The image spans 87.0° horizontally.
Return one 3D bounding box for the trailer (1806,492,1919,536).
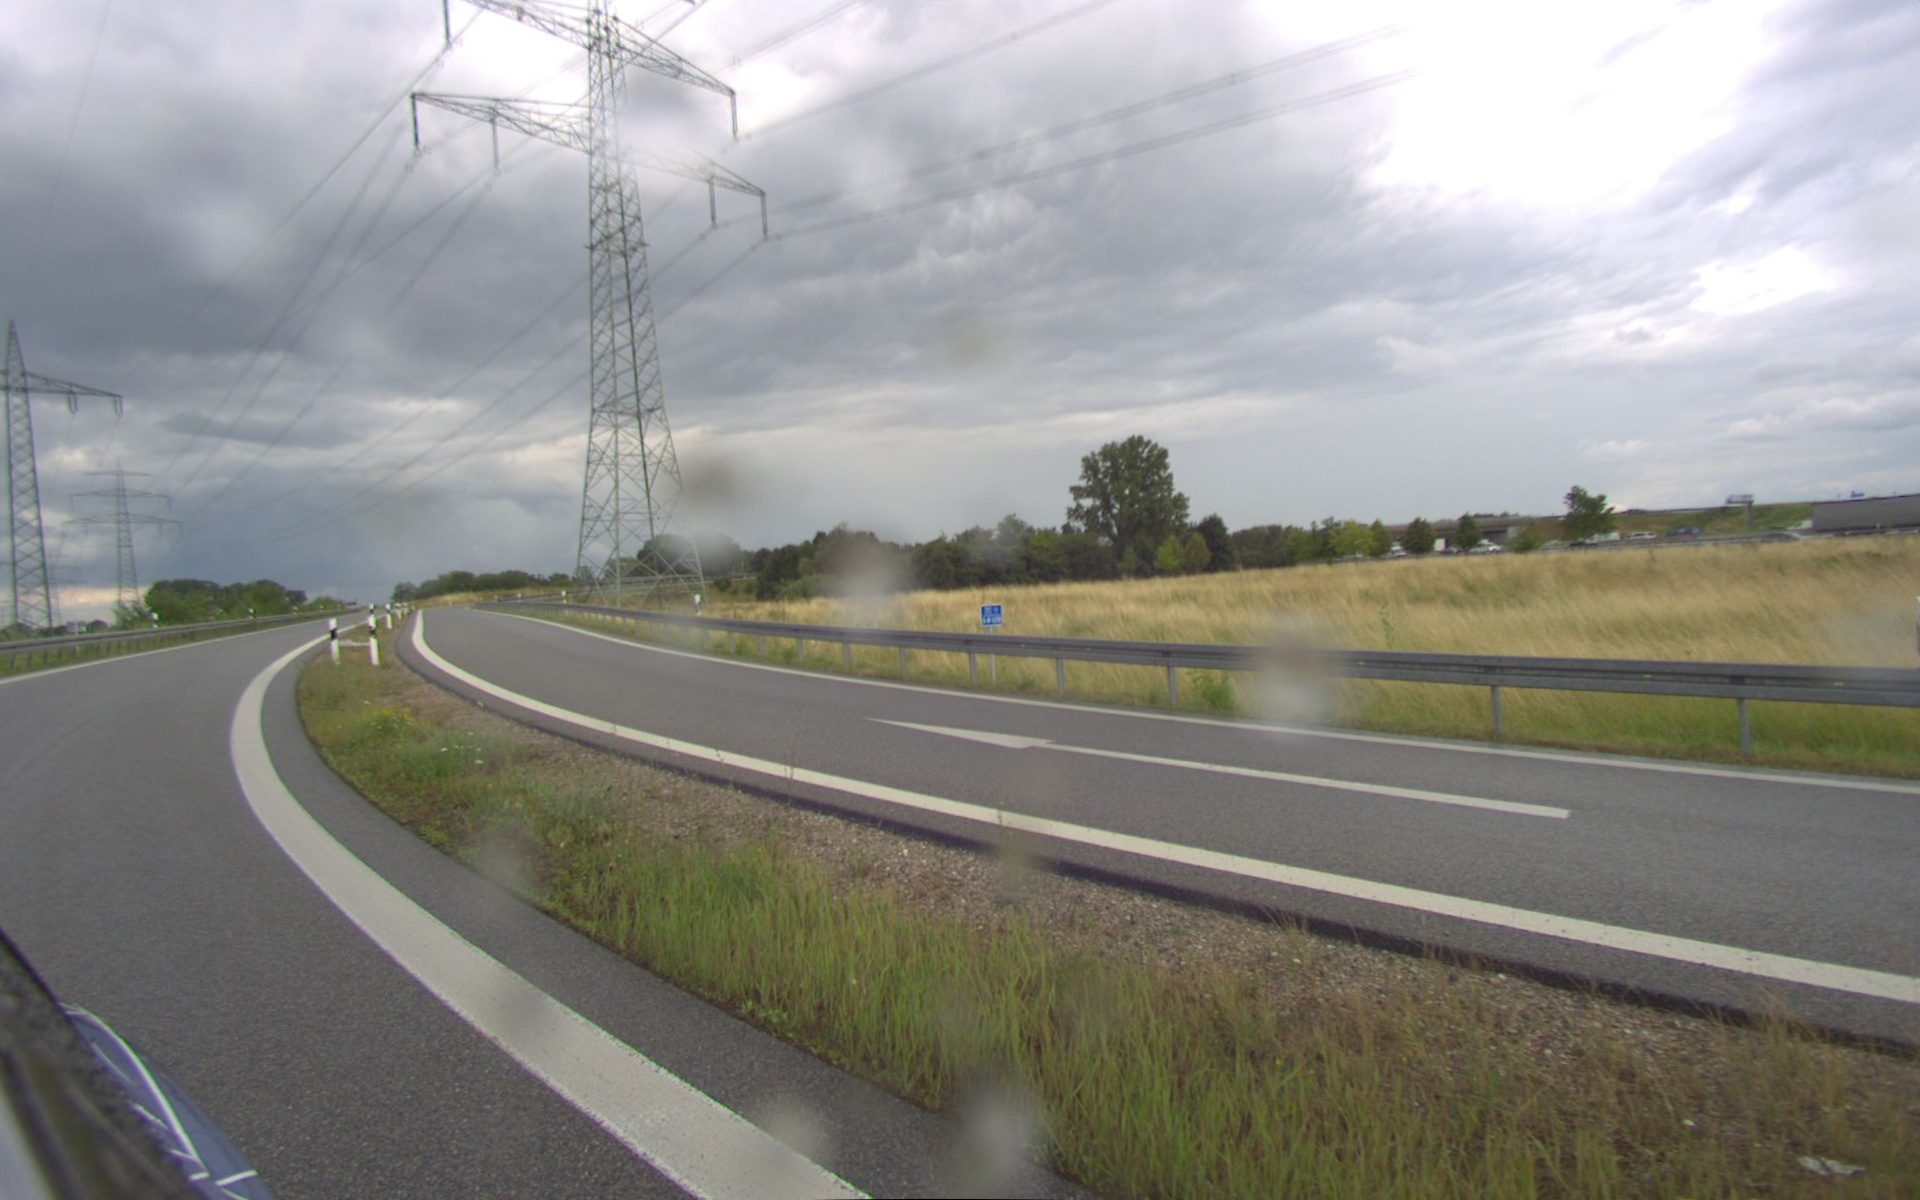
[{"bbox_3d":[98.799,-9.270,108.216,2.812,3.810,13.696,-4,1,-13],"label":"trailer"}]
